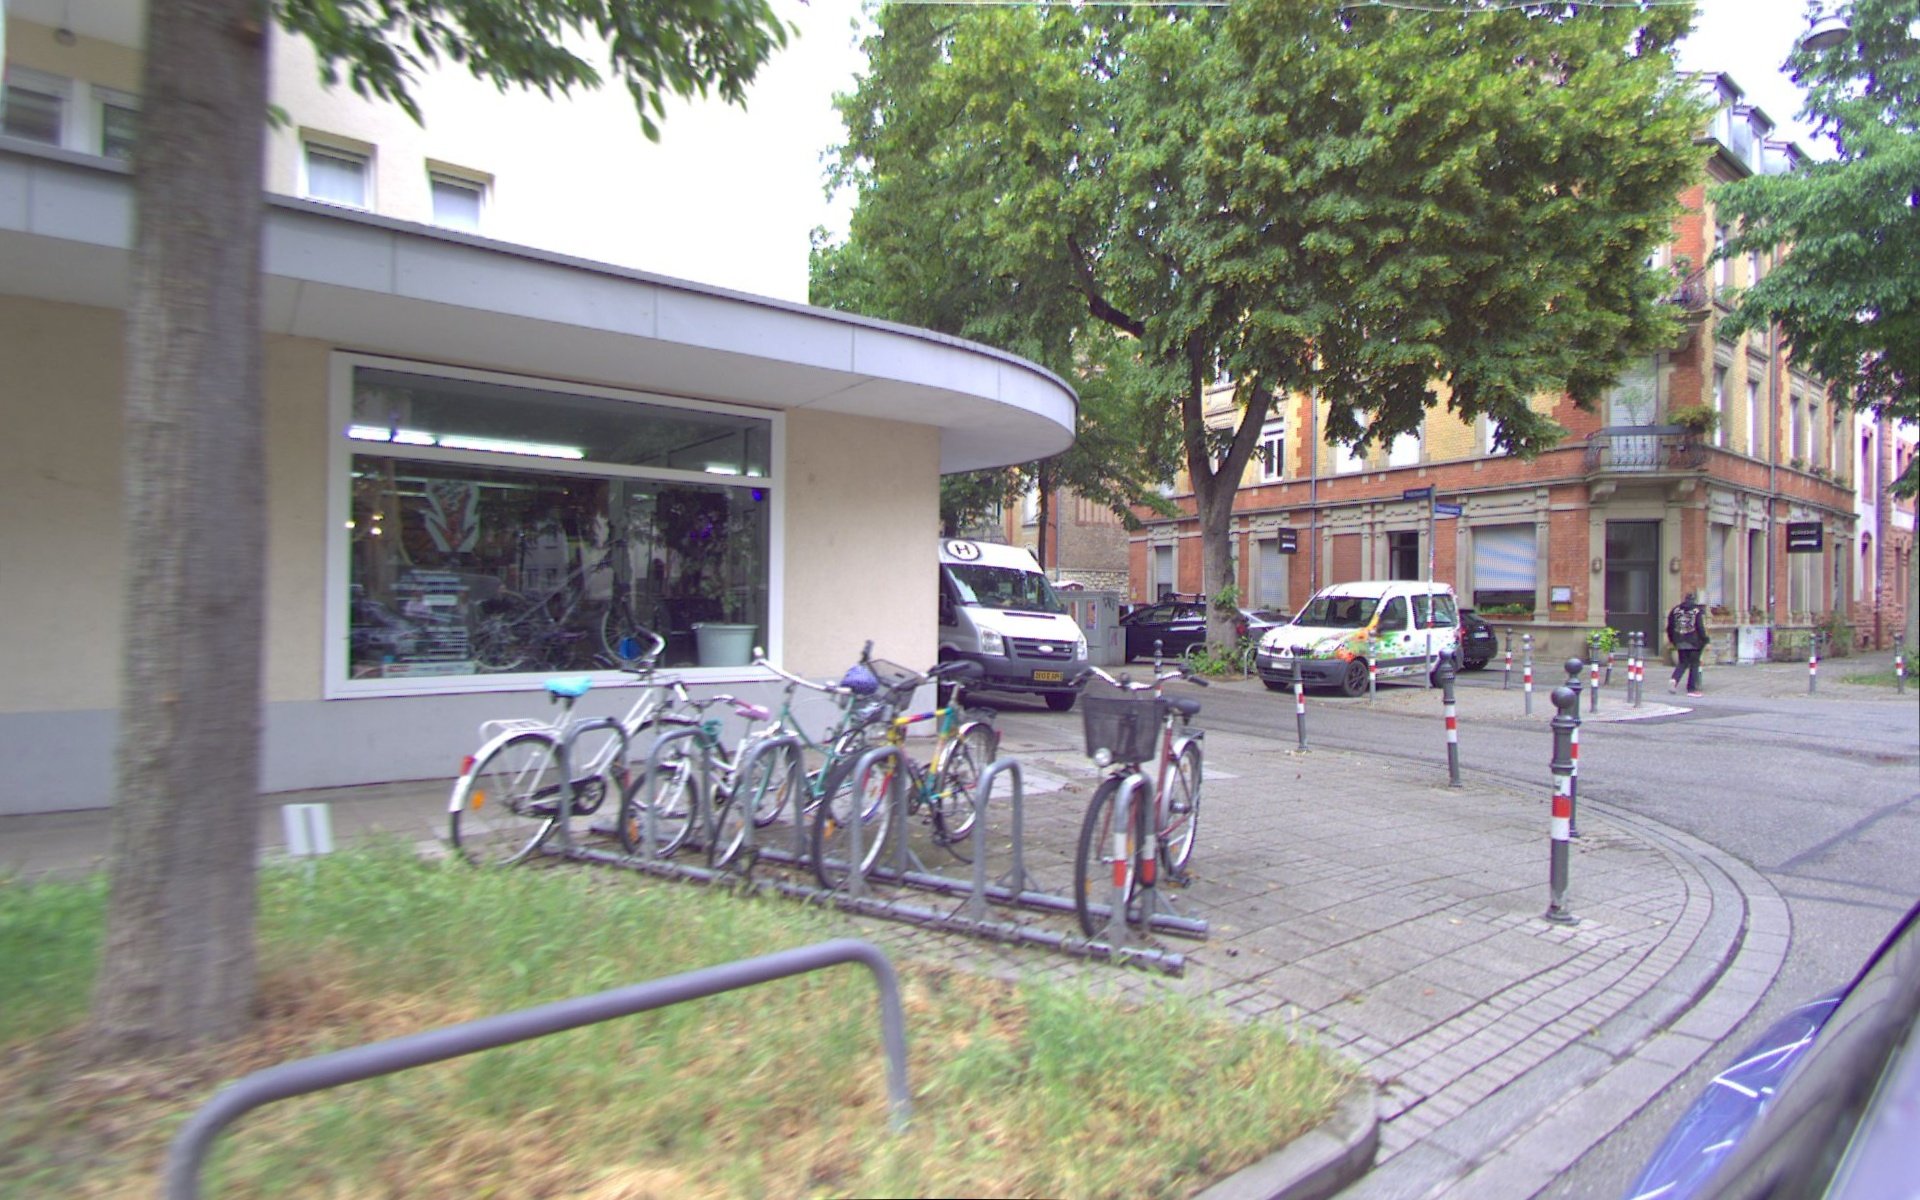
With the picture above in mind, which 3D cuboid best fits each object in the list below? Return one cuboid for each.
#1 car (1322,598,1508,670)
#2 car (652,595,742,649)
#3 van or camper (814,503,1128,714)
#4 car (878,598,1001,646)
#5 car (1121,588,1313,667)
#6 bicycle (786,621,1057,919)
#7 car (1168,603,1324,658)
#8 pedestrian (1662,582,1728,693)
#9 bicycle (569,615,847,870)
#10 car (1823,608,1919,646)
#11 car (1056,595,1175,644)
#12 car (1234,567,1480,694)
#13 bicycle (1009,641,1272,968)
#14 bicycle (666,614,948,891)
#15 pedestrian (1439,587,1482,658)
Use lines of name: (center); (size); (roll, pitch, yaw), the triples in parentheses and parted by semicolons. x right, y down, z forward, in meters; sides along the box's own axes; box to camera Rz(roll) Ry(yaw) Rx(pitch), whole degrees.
car: (10.749, 0.737, 24.180); (1.627, 1.560, 3.838); (0, 1, -30)
car: (-7.793, 0.589, 29.718); (1.740, 1.436, 4.006); (1, 0, -27)
van or camper: (-0.146, 0.125, 15.315); (2.092, 2.526, 5.798); (4, -2, -28)
car: (-0.630, 0.735, 32.045); (3.540, 1.438, 1.733); (-1, -3, 17)
car: (5.730, 0.573, 22.577); (3.911, 1.601, 1.670); (1, -1, 26)
bicycle: (-0.118, 0.739, 5.162); (0.545, 1.188, 1.710); (1, 1, 31)
car: (8.185, 0.831, 29.377); (1.959, 1.371, 4.339); (-2, 1, -26)
pedestrian: (12.436, 0.621, 17.136); (0.499, 1.820, 0.781); (1, -1, -35)
bicycle: (-1.377, 0.718, 5.855); (0.545, 1.188, 1.679); (1, 1, 31)
car: (39.417, 1.125, 42.976); (1.580, 1.472, 3.998); (1, 0, -37)
car: (5.328, 0.631, 35.253); (1.959, 1.553, 4.339); (-2, 1, -26)
car: (6.532, 0.446, 16.545); (3.922, 1.842, 1.777); (1, 0, -33)
bicycle: (0.899, 0.779, 4.599); (0.603, 1.108, 1.766); (1, 0, 30)
bicycle: (-0.744, 0.703, 5.453); (0.545, 1.188, 1.710); (1, 1, 31)
pedestrian: (12.372, 0.550, 25.027); (0.551, 1.728, 0.750); (1, 0, -26)
